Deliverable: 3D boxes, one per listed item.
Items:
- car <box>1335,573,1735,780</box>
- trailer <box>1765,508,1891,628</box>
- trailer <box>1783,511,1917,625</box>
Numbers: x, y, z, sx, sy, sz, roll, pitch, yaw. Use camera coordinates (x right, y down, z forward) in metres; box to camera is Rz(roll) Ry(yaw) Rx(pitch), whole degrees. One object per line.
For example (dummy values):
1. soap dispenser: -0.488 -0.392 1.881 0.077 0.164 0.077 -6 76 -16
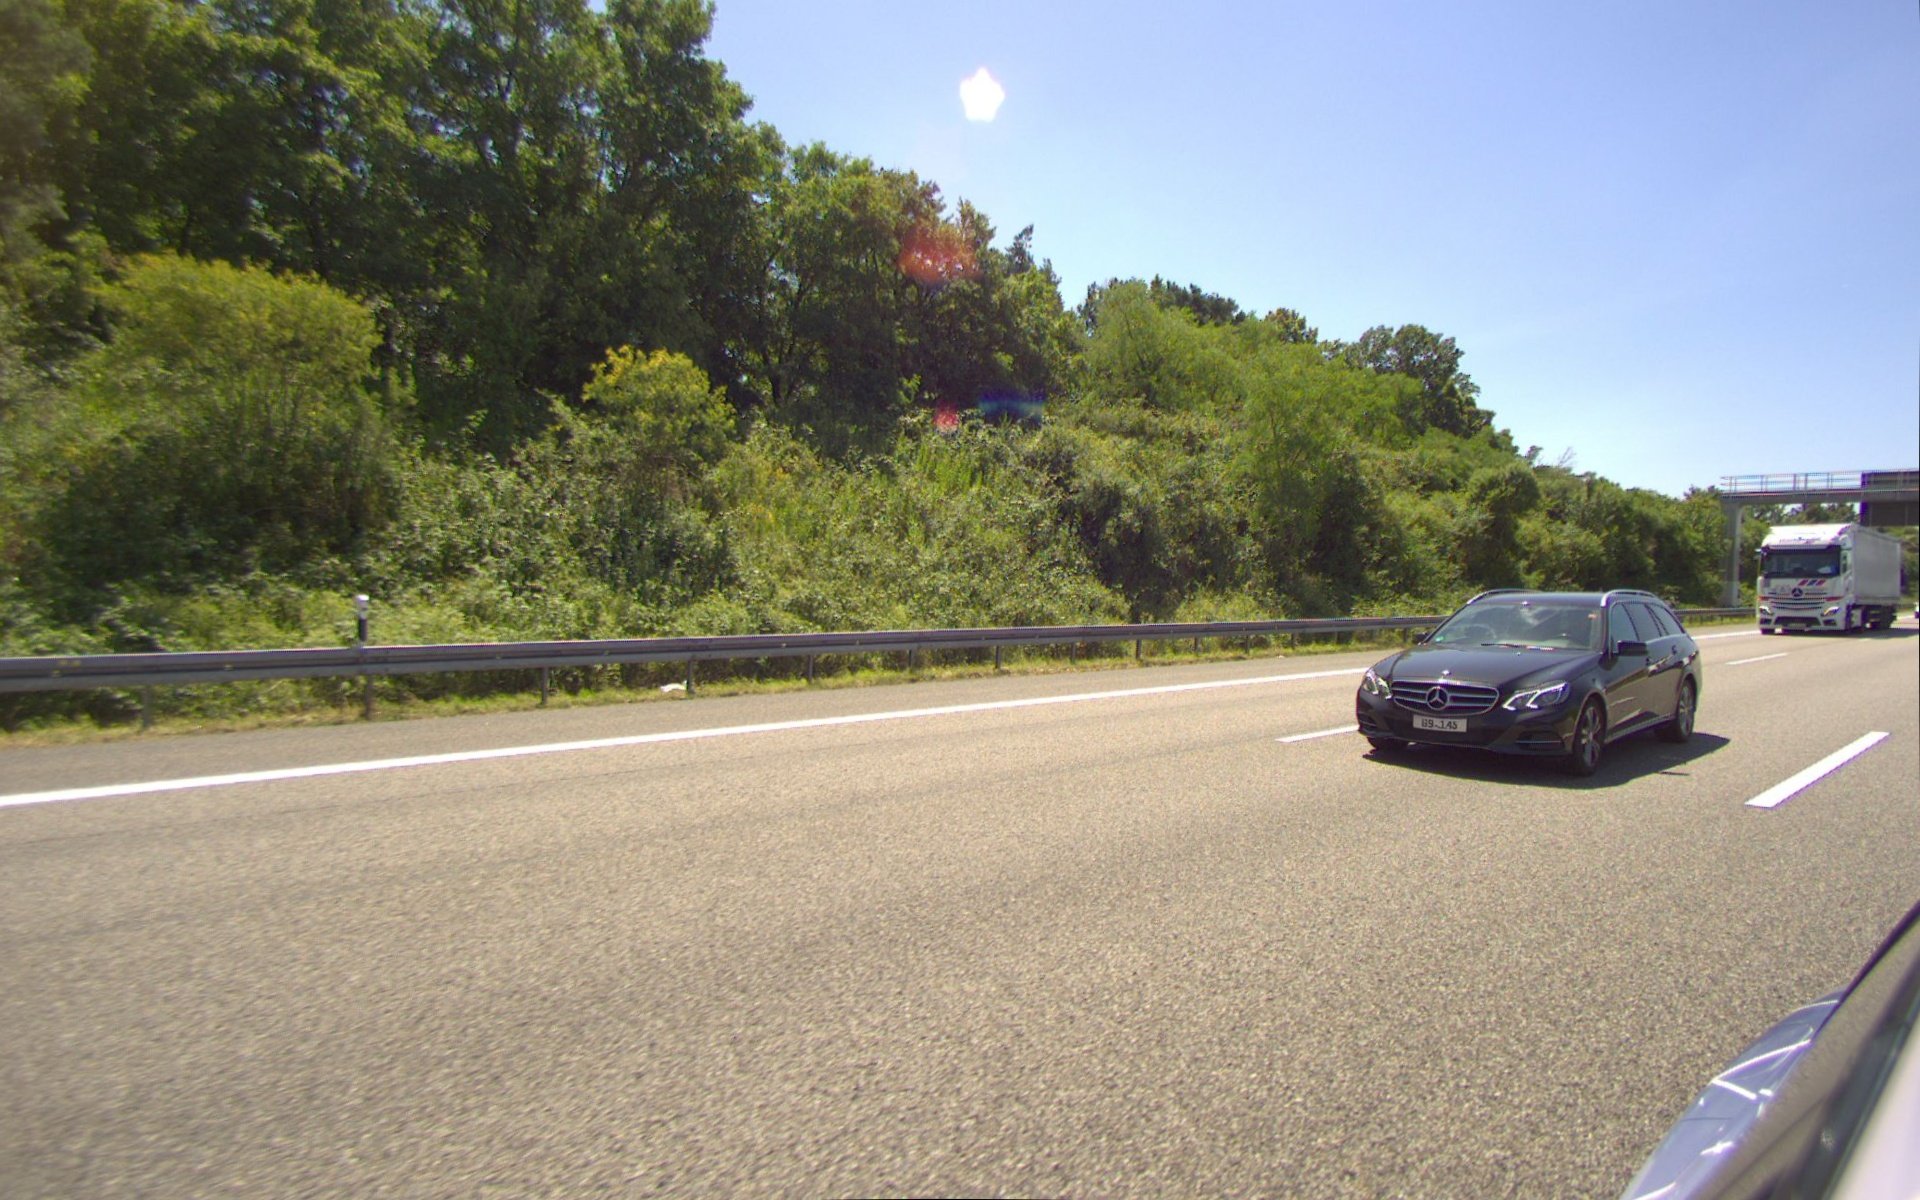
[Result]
1. car: 5.660 0.543 9.688 4.654 1.524 1.845 0 1 -40
2. trailer: 32.853 -1.163 38.213 6.672 4.154 2.717 0 1 -42
3. trailer: 37.593 -1.250 42.492 12.963 4.154 2.733 0 1 -42
